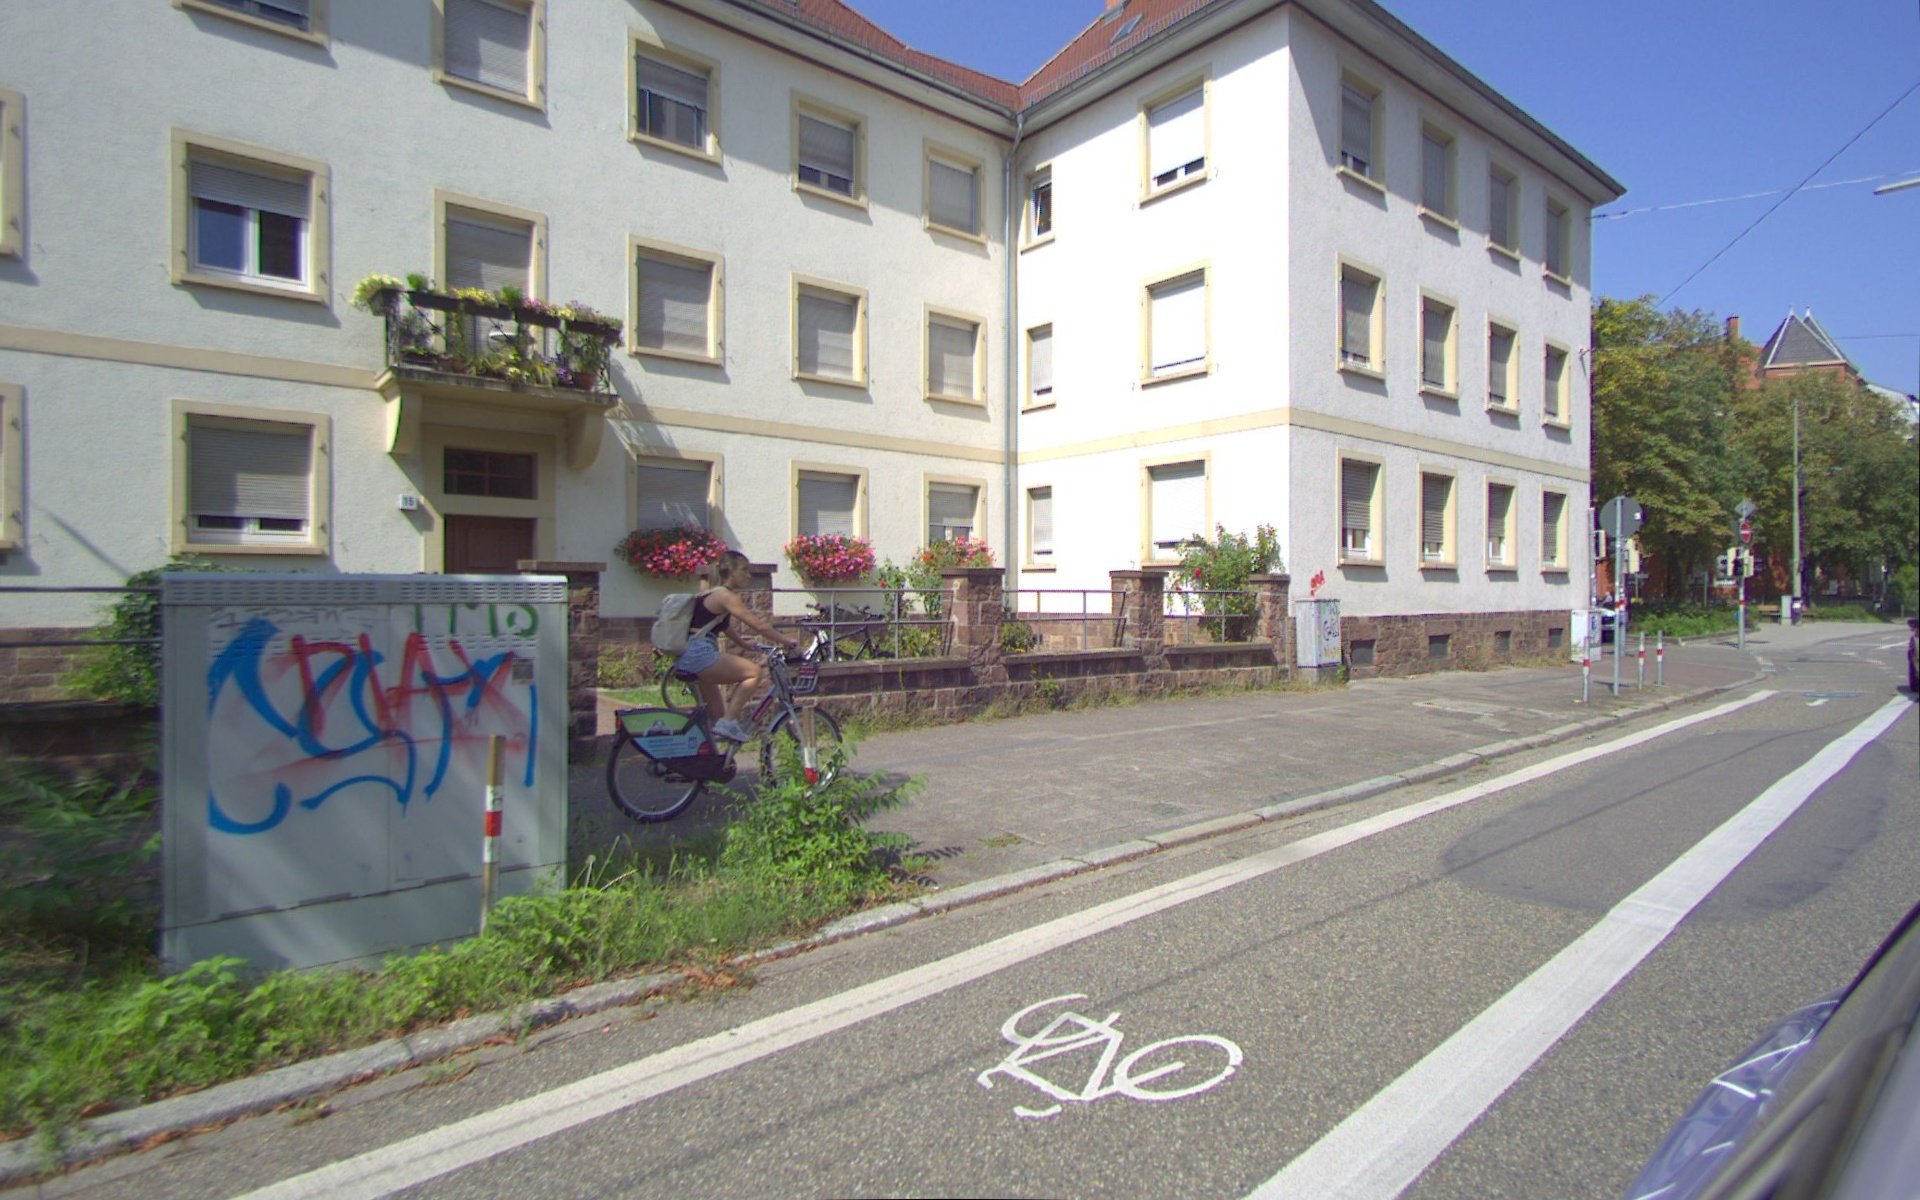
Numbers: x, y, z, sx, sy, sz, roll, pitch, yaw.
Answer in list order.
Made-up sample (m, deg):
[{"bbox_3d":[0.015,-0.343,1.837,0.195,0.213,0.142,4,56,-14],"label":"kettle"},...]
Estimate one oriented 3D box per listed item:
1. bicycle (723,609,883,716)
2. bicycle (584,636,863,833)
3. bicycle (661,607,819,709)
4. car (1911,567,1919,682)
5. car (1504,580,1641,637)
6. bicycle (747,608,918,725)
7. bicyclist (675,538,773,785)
[{"bbox_3d":[-1.682,0.642,11.070,1.798,1.060,0.440,-1,0,-43],"label":"bicycle"},{"bbox_3d":[-1.488,0.805,6.625,1.798,1.060,0.440,-1,0,-43],"label":"bicycle"},{"bbox_3d":[-2.500,0.629,11.663,1.798,1.060,0.440,-1,0,-43],"label":"bicycle"},{"bbox_3d":[15.283,0.383,14.724,1.795,1.835,4.352,-2,-1,40],"label":"car"},{"bbox_3d":[21.025,0.263,34.975,1.768,1.835,4.420,0,0,-5],"label":"car"},{"bbox_3d":[-1.260,0.632,10.286,1.798,1.060,0.440,-1,0,-43],"label":"bicycle"},{"bbox_3d":[-1.536,0.377,6.588,0.464,1.531,0.438,0,0,-42],"label":"bicyclist"}]
